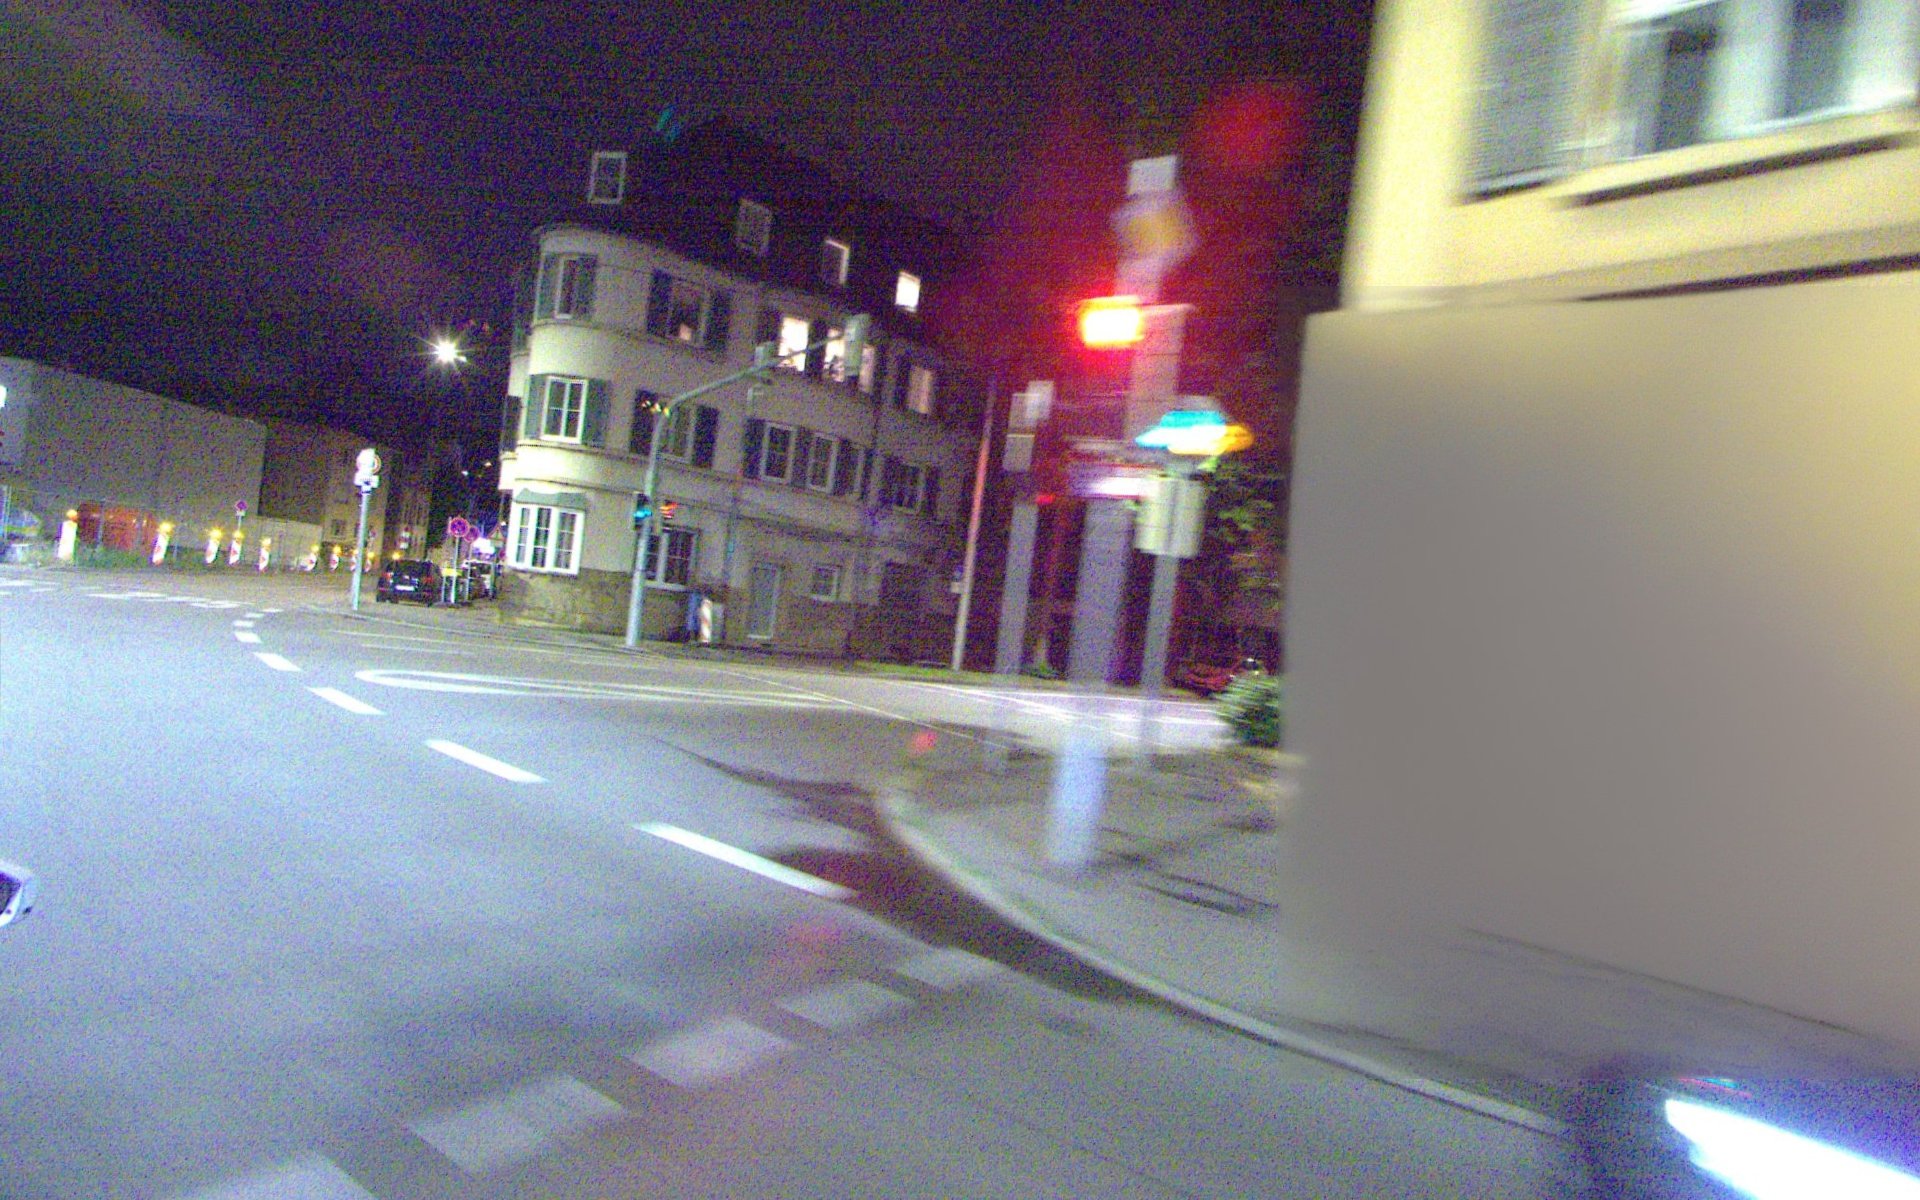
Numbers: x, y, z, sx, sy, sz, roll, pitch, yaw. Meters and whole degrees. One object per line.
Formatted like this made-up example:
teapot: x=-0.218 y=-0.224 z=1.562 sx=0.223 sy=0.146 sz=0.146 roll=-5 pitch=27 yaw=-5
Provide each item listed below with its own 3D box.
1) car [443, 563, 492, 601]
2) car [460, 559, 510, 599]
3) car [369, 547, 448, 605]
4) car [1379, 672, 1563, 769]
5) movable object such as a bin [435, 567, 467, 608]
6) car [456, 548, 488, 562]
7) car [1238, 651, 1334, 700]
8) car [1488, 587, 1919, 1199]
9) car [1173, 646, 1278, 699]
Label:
car: x=-24.156 y=-0.866 z=49.451 sx=1.725 sy=1.584 sz=4.191 roll=6 pitch=-1 yaw=-21
car: x=-27.236 y=-1.174 z=57.846 sx=2.050 sy=1.952 sz=5.347 roll=6 pitch=-1 yaw=-21
car: x=-18.879 y=-0.800 z=34.594 sx=1.725 sy=1.703 sz=4.239 roll=6 pitch=-1 yaw=-21
car: x=10.821 y=2.571 z=21.205 sx=3.972 sy=1.607 sz=1.978 roll=8 pitch=-2 yaw=-40
movable object such as a bin: x=-19.668 y=-0.484 z=38.894 sx=0.928 sy=1.449 sz=1.331 roll=5 pitch=0 yaw=-24
car: x=-78.769 y=-7.230 z=162.515 sx=4.394 sy=1.466 sz=1.991 roll=8 pitch=-2 yaw=-22
car: x=13.392 y=3.122 z=41.194 sx=3.976 sy=1.522 sz=1.976 roll=9 pitch=-2 yaw=-43
car: x=3.029 y=1.049 z=1.397 sx=3.931 sy=1.636 sz=1.998 roll=6 pitch=-1 yaw=29
car: x=10.205 y=2.789 z=38.503 sx=3.976 sy=1.522 sz=1.976 roll=9 pitch=-2 yaw=-43
